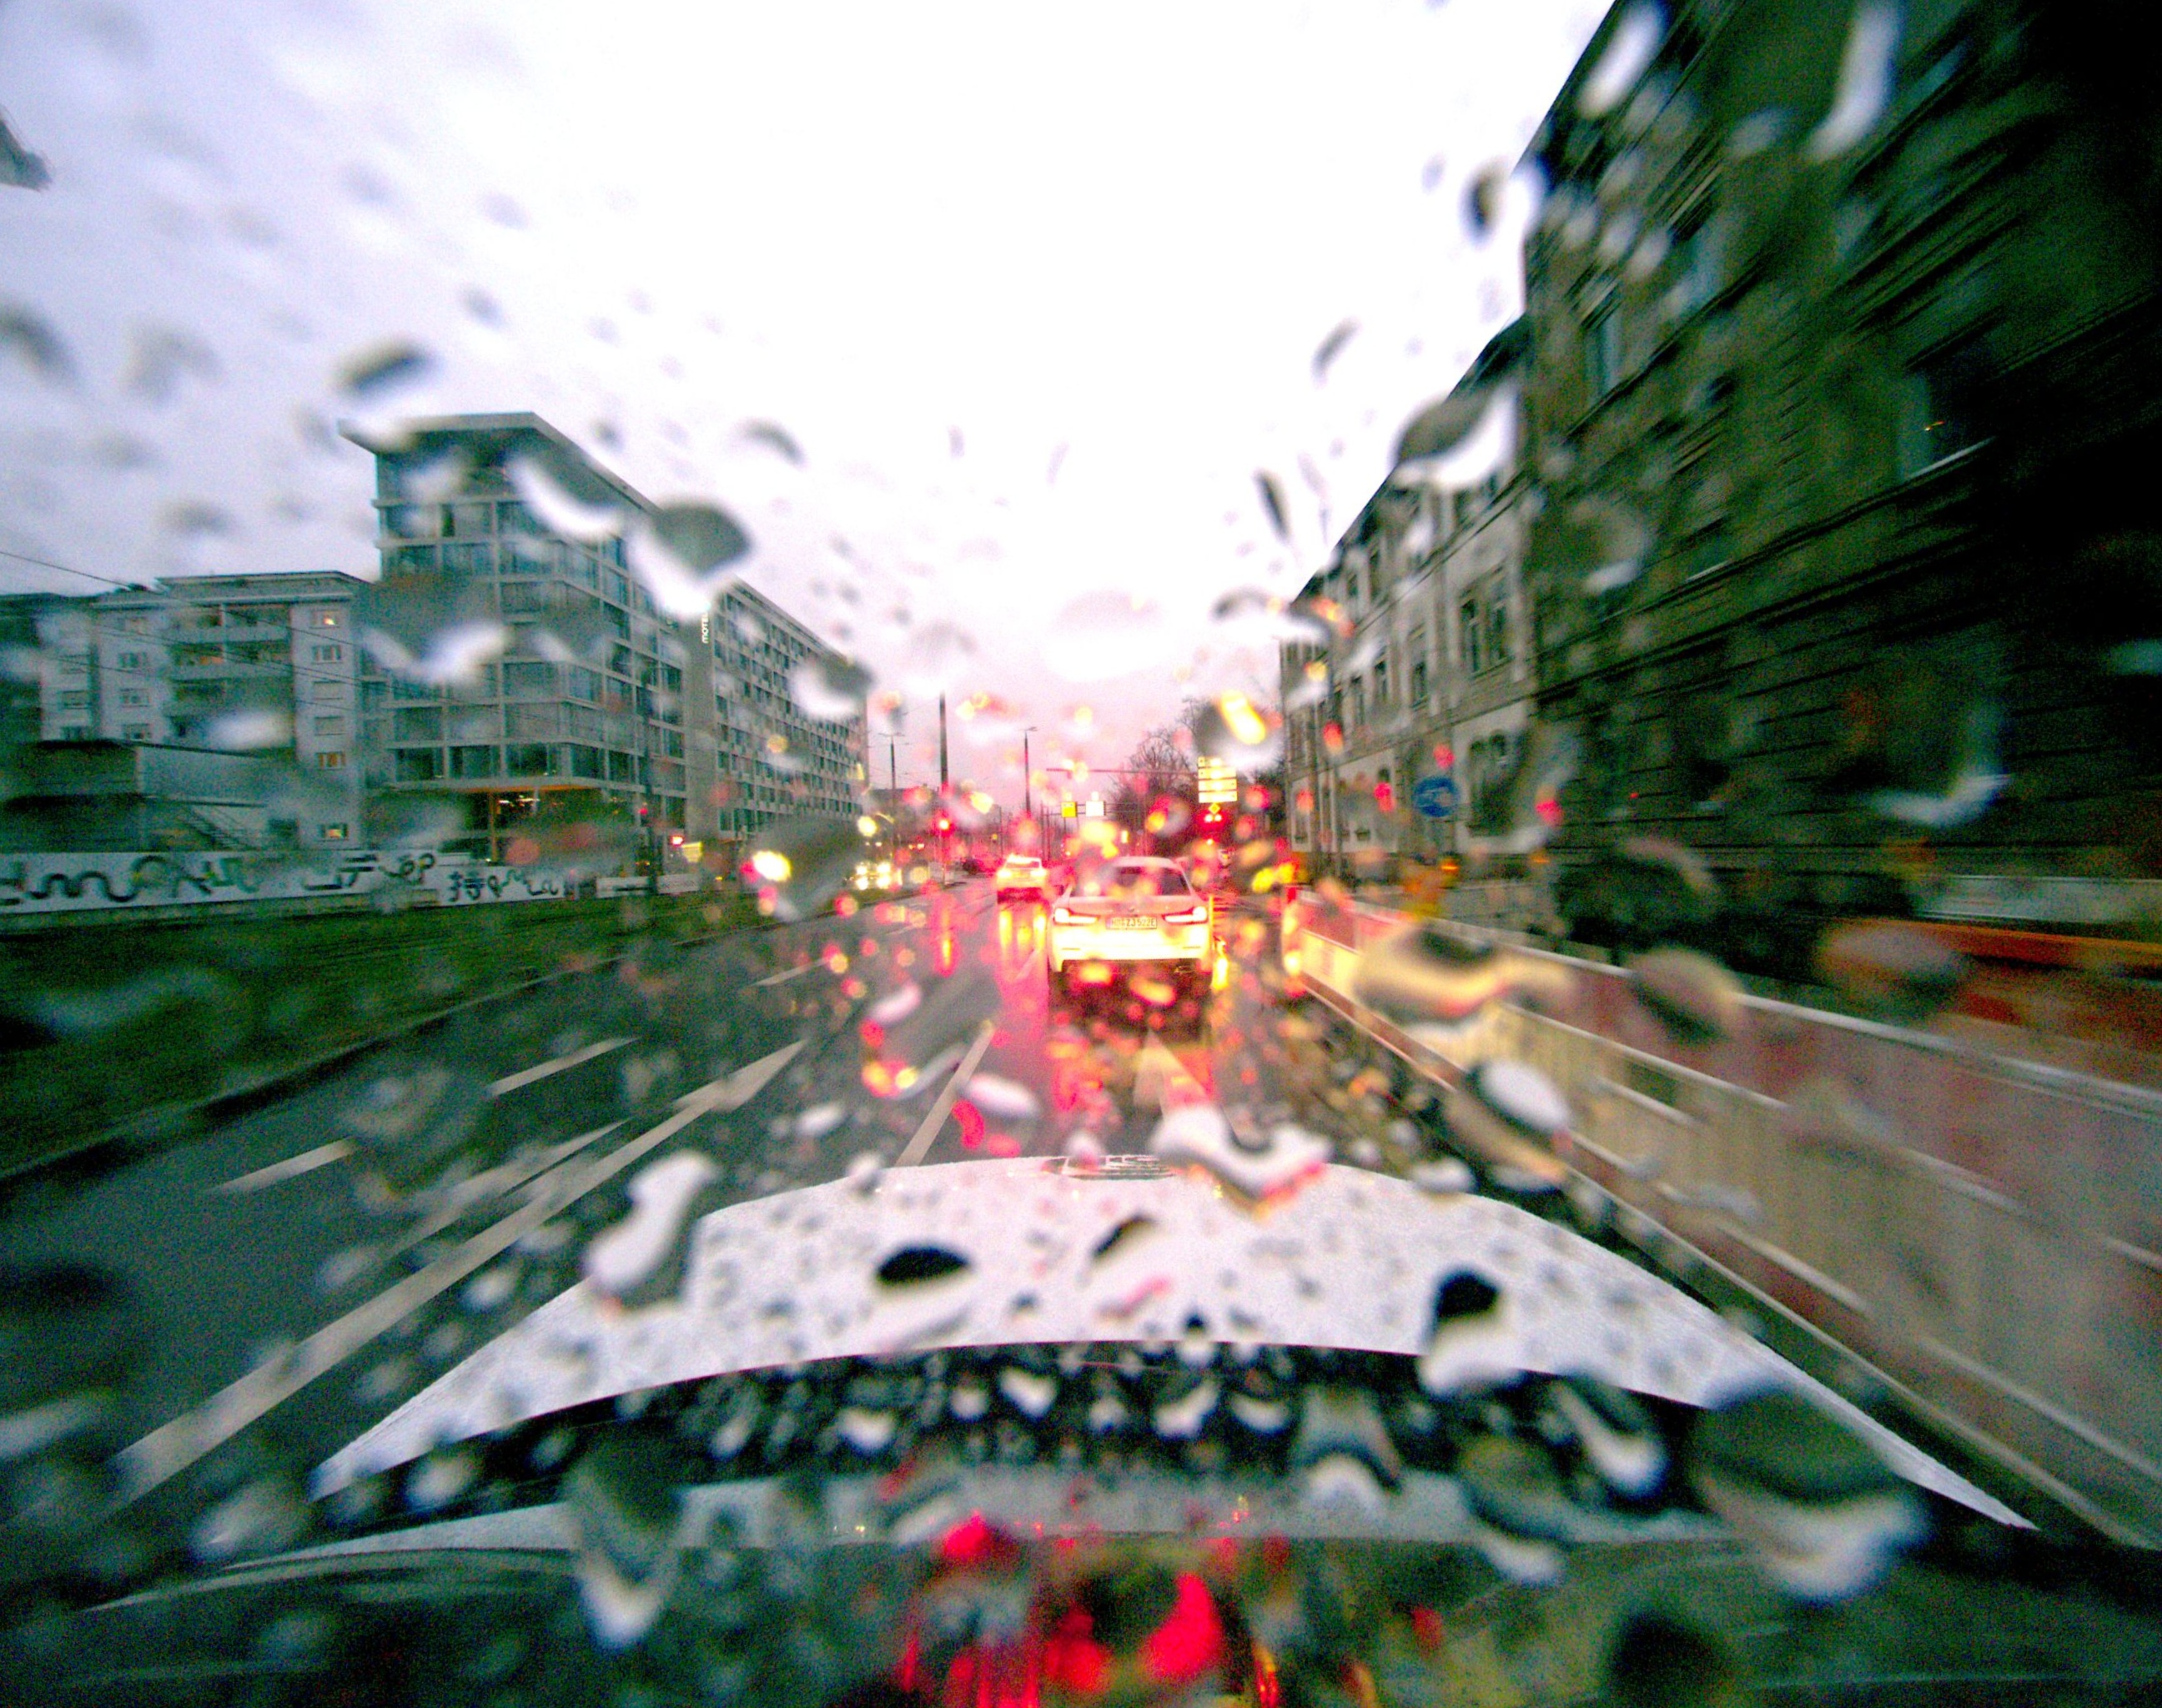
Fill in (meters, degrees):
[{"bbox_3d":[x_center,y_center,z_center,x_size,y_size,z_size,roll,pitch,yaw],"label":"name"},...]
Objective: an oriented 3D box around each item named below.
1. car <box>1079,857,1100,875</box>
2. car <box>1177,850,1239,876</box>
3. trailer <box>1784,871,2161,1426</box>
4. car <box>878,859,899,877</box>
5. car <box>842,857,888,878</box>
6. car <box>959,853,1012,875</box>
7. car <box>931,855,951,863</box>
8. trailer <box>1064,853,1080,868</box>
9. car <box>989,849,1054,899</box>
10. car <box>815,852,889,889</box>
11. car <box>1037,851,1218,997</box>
[{"bbox_3d":[0.861,1.127,78.109,1.894,1.641,4.002,-1,0,2],"label":"car"},{"bbox_3d":[9.129,0.650,58.506,3.951,1.797,1.861,-1,0,23],"label":"car"},{"bbox_3d":[3.665,0.771,1.432,1.844,1.346,3.530,-2,0,2],"label":"trailer"},{"bbox_3d":[-18.688,1.293,78.983,1.558,1.658,3.387,-1,0,-7],"label":"car"},{"bbox_3d":[-16.081,0.976,60.587,3.498,1.492,1.755,-1,0,45],"label":"car"},{"bbox_3d":[-7.321,0.741,62.334,3.941,1.507,1.847,-1,0,-10],"label":"car"},{"bbox_3d":[-32.099,1.202,186.855,4.207,1.745,1.836,-2,0,-6],"label":"car"},{"bbox_3d":[-1.053,0.736,95.794,1.828,1.643,3.998,-1,0,-1],"label":"trailer"},{"bbox_3d":[-2.069,0.664,29.543,1.894,1.641,4.002,-1,0,2],"label":"car"},{"bbox_3d":[-13.130,0.937,46.753,3.997,1.975,1.988,-1,0,-17],"label":"car"},{"bbox_3d":[0.532,0.723,10.922,1.845,1.465,4.947,-1,0,1],"label":"car"}]
